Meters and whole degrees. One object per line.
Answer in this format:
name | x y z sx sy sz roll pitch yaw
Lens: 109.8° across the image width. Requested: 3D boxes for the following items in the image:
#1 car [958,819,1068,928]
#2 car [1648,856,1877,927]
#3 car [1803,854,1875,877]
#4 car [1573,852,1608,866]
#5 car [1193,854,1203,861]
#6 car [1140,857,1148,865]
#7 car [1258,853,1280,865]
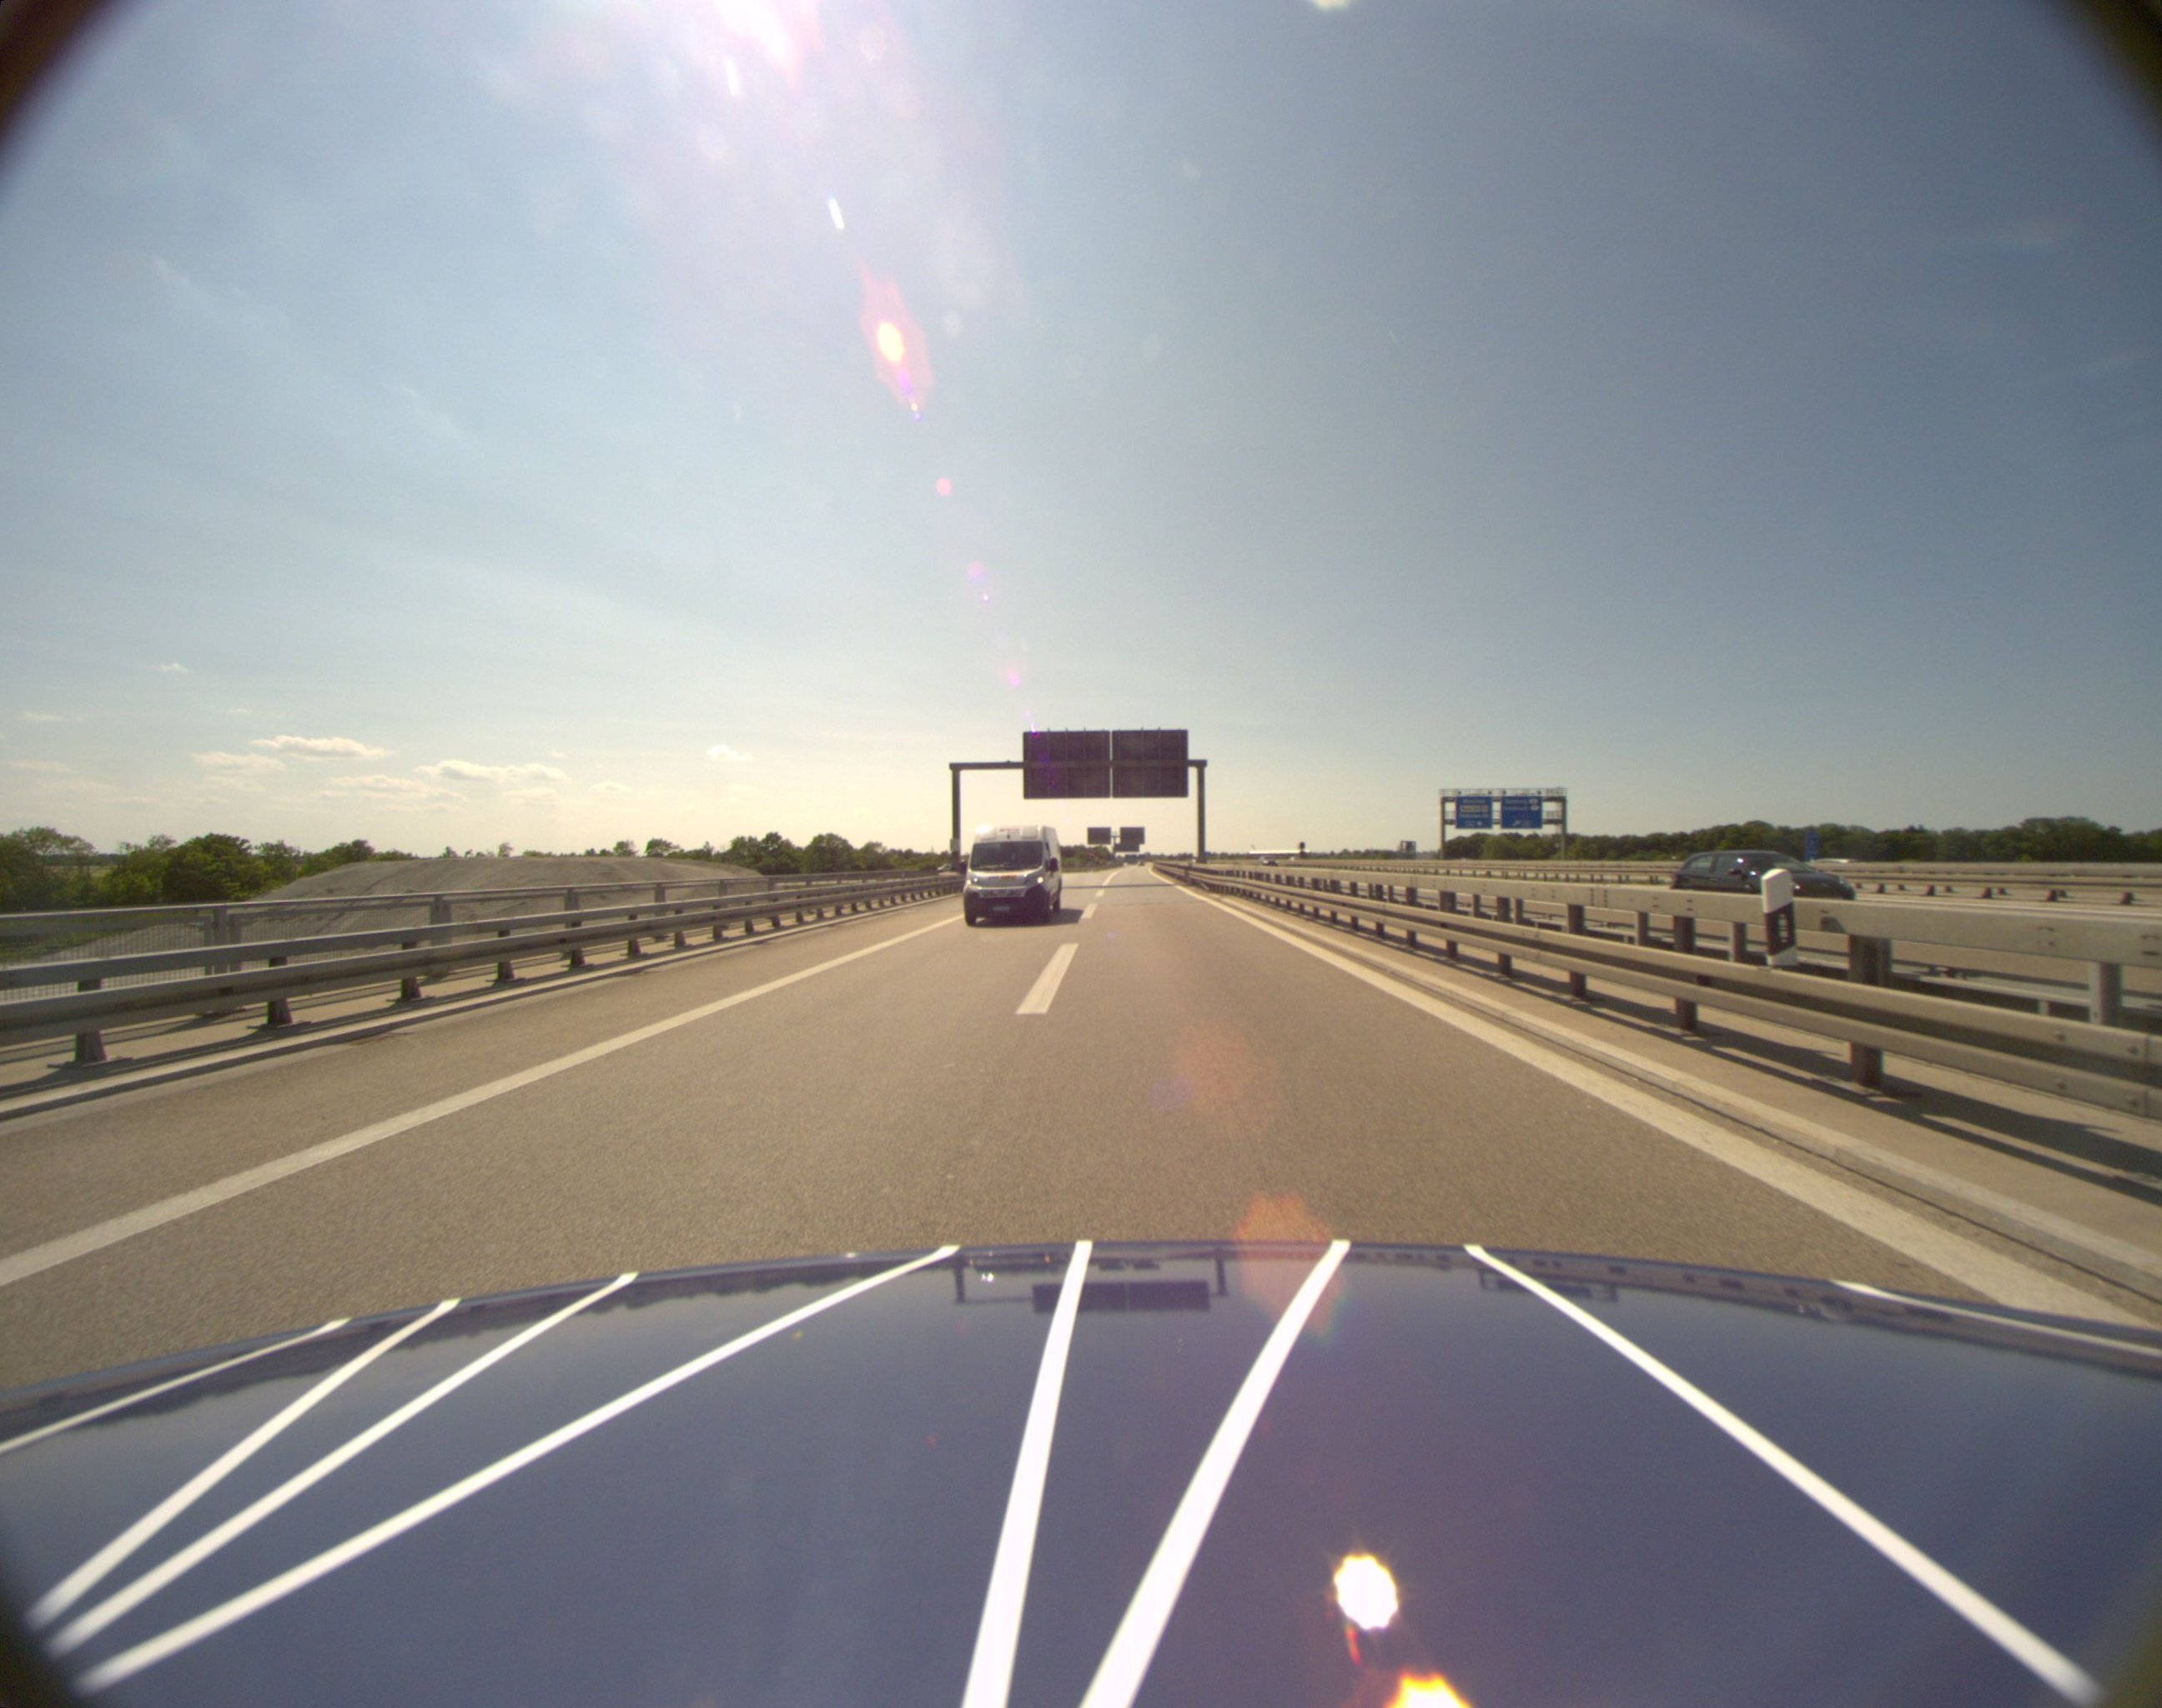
car | -1.649 0.471 20.758 2.087 2.509 6.239 -1 0 3
car | 16.035 0.803 18.229 1.834 1.424 4.218 -1 0 3
car | 51.023 0.732 51.233 1.582 1.347 3.343 0 2 2
car | 55.881 0.526 83.382 1.582 1.347 3.343 0 2 2
car | 28.403 0.814 184.756 1.842 1.508 4.576 -1 0 3
car | 15.488 1.738 187.812 1.998 1.744 4.001 -1 0 4
car | 23.759 0.626 96.272 1.842 1.508 4.576 -1 0 3
